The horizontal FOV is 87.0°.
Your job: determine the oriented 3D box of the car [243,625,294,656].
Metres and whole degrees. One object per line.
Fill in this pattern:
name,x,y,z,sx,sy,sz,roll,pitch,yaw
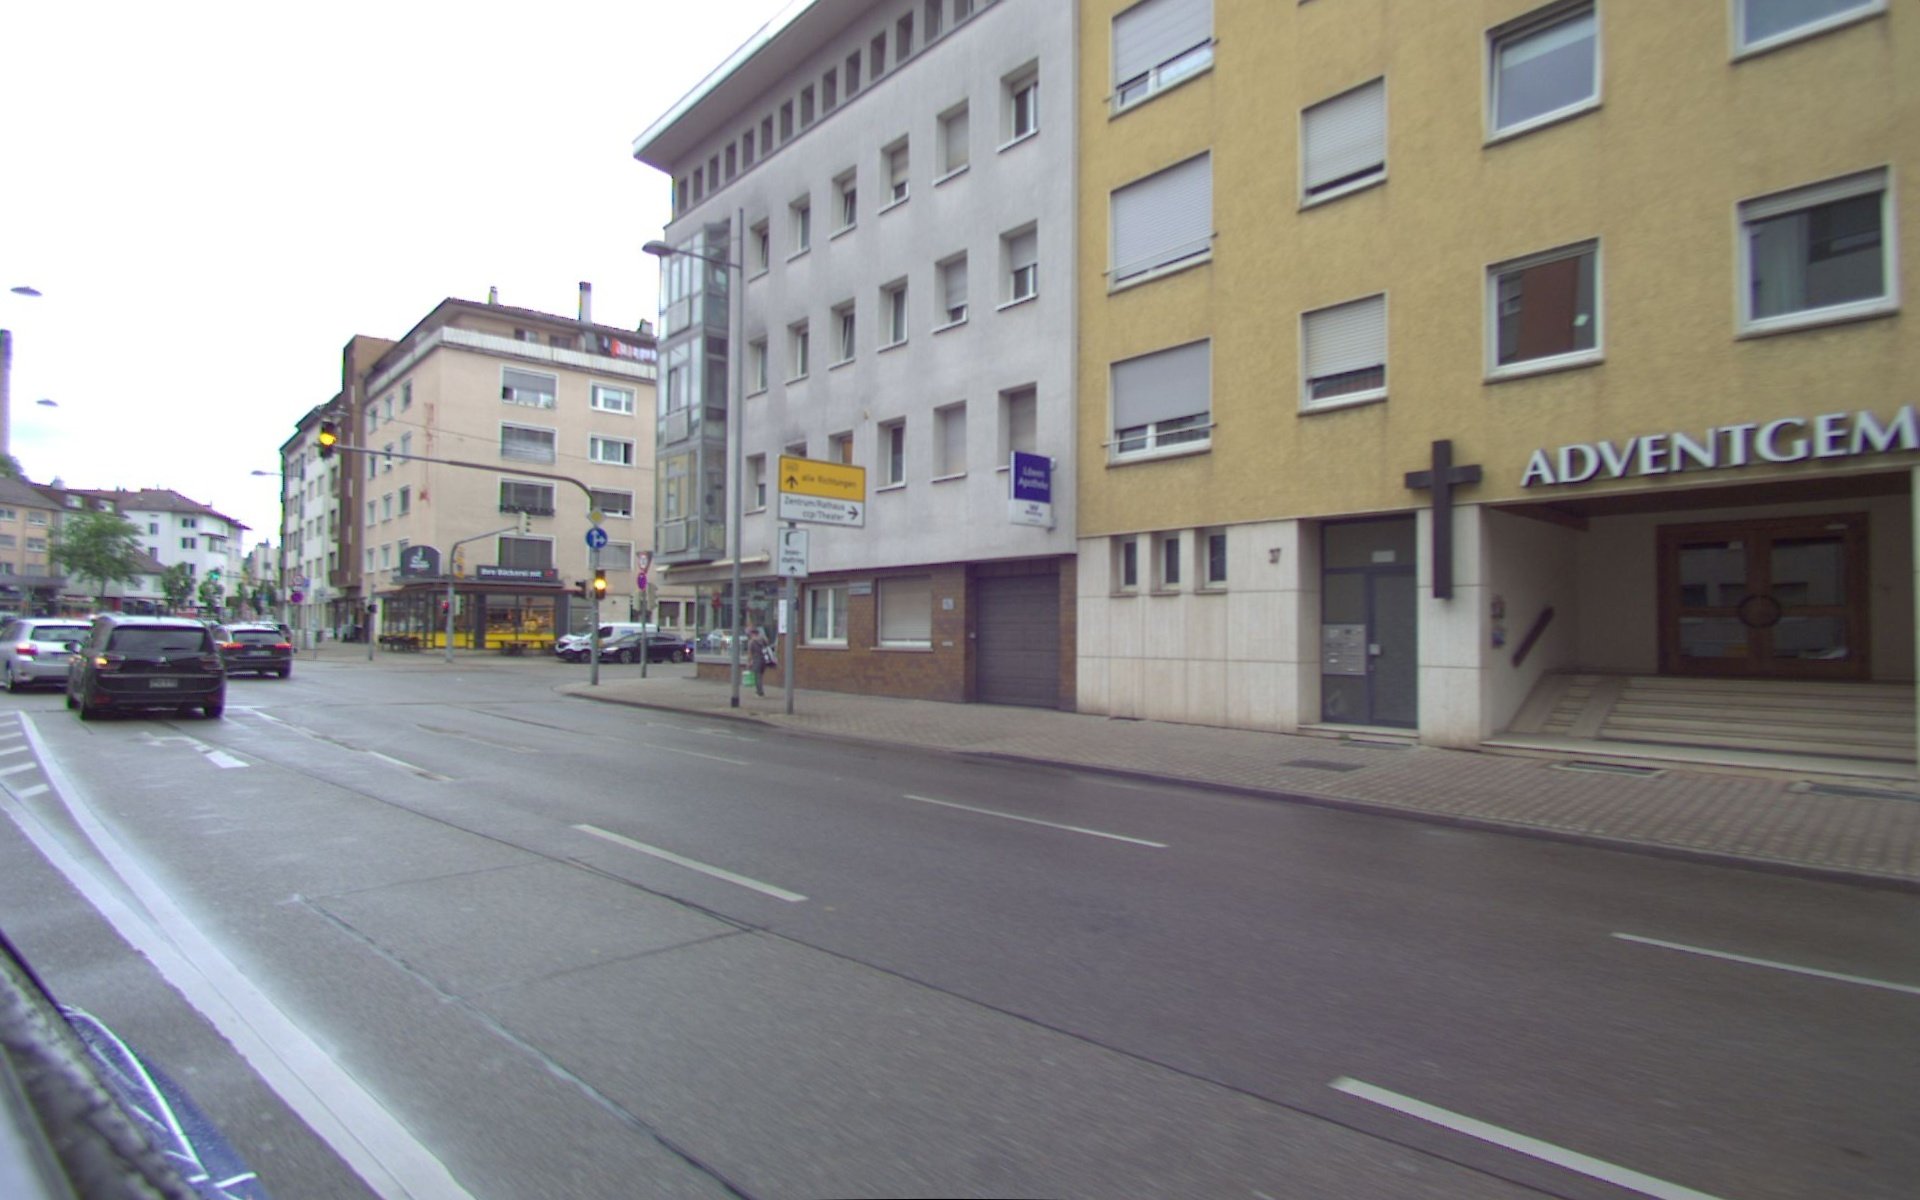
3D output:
car,-38.315,2.198,56.007,1.883,1.566,4.639,4,-3,-39

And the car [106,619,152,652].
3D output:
car,-44.833,1.918,54.588,1.798,1.652,4.381,3,-2,-40

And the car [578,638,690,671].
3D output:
car,-14.354,2.381,44.714,2.045,1.387,4.281,-3,-4,40

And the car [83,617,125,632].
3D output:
car,-81.857,2.342,96.808,1.783,1.352,4.013,-1,-1,-20

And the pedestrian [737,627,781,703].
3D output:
pedestrian,-4.386,1.406,22.076,0.678,1.593,0.653,-1,-1,-41

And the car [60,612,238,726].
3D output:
car,-13.543,1.044,16.796,1.800,1.620,4.433,3,-2,-45

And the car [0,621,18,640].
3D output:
car,-75.211,2.391,78.618,1.812,1.453,4.013,-1,-1,-24

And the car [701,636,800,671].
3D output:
car,-10.302,2.630,50.045,2.044,1.602,4.594,-3,-4,39

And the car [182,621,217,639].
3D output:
car,-89.039,3.450,118.595,1.966,2.029,4.011,-1,-1,-15

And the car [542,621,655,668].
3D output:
car,-17.752,2.189,49.901,2.047,2.118,4.797,2,-1,44

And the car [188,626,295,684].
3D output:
car,-20.399,1.505,28.654,1.799,1.444,4.402,3,-2,-44

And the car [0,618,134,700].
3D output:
car,-19.516,1.208,21.690,4.130,1.538,1.915,0,-2,38

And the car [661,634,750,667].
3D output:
car,-13.730,2.711,54.825,2.045,1.567,4.282,2,-1,40

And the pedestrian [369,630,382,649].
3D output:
pedestrian,-36.577,2.462,63.339,0.600,1.157,0.633,2,-2,-41

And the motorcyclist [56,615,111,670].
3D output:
motorcyclist,-24.821,1.192,28.669,0.859,1.505,0.910,0,-1,24

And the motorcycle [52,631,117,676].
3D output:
motorcycle,-24.809,1.504,28.661,2.090,1.200,0.584,0,-1,25
